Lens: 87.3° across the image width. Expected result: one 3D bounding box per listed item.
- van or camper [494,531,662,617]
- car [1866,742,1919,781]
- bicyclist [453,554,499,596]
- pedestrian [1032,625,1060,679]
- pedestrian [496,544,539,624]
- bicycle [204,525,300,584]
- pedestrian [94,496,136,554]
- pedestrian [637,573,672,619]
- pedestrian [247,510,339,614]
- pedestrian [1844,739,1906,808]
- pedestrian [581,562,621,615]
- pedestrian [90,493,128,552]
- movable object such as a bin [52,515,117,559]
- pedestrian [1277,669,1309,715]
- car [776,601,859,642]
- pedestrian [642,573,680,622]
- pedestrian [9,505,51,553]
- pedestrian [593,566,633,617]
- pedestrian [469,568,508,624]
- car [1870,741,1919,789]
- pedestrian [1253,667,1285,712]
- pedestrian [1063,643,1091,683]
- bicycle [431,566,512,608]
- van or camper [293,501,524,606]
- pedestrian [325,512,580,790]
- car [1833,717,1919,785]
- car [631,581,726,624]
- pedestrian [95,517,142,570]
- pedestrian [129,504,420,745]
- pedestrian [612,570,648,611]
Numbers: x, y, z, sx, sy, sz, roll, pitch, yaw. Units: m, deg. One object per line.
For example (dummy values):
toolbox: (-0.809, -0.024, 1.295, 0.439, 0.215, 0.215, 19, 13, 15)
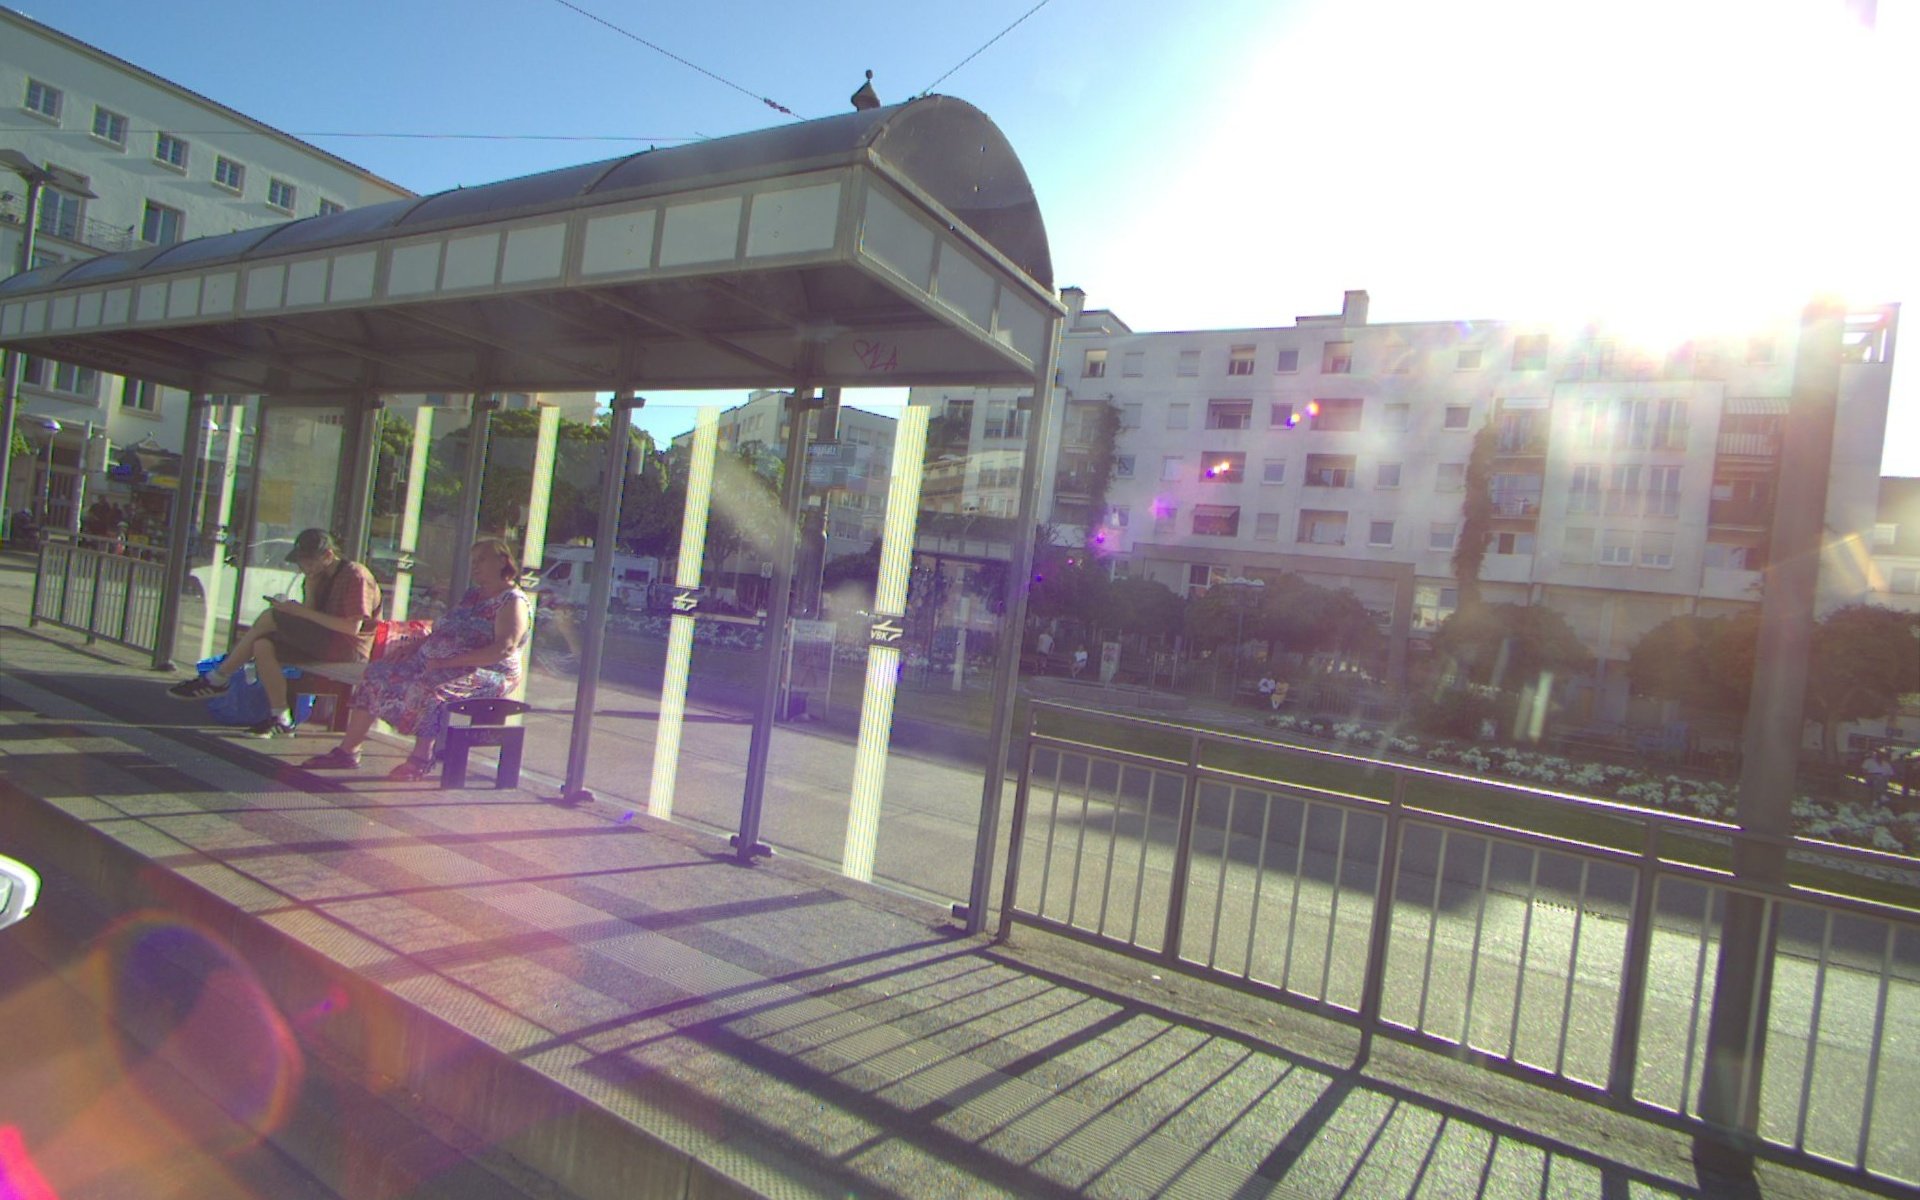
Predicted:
van or camper: (-16.492, -1.048, 43.834, 2.340, 2.873, 6.411, 7, -1, 35)
car: (39.574, 6.764, 40.809, 3.941, 1.303, 1.993, 7, -1, 38)
bicyclist: (-16.586, -0.856, 34.475, 0.940, 1.239, 0.931, 7, -2, 38)
pedestrian: (2.959, 1.795, 34.584, 0.661, 1.745, 1.028, 7, 0, 11)
pedestrian: (-10.307, -0.368, 23.415, 0.520, 1.765, 0.557, 6, -1, 42)
bicycle: (-23.529, -1.484, 33.484, 0.714, 1.548, 2.391, 7, -3, 31)
pedestrian: (-29.148, -2.580, 34.706, 0.667, 1.861, 0.785, 7, 0, 35)
pedestrian: (-11.452, -0.147, 37.708, 0.651, 1.604, 0.902, 7, 0, 35)
pedestrian: (-13.356, -0.748, 20.160, 1.110, 1.900, 0.983, 6, -1, 29)
pedestrian: (21.595, 4.063, 23.765, 0.923, 1.428, 1.521, 7, -1, 42)
pedestrian: (-12.528, -0.396, 35.120, 0.684, 1.705, 0.902, 7, 0, 35)
pedestrian: (-28.581, -2.608, 33.781, 0.649, 1.861, 0.653, 7, 0, 35)
movable object such as a bin: (-28.133, -2.028, 32.316, 1.197, 1.167, 1.200, 7, -1, 32)
pedestrian: (10.318, 2.849, 31.181, 0.718, 1.287, 0.745, 7, 0, 11)
car: (-6.726, 1.068, 47.905, 1.964, 1.503, 4.000, 7, -1, 23)
pedestrian: (-10.611, -0.071, 35.721, 0.651, 1.604, 0.902, 7, 0, 35)
pedestrian: (-27.998, -2.127, 30.300, 0.736, 1.332, 0.622, 7, 0, -35)
pedestrian: (-11.819, -0.283, 34.242, 0.651, 1.604, 0.902, 7, 0, 35)
pedestrian: (-10.608, -0.094, 22.634, 0.550, 1.182, 0.469, 6, -2, 40)
car: (36.365, 6.313, 37.035, 3.941, 1.535, 1.993, 7, -1, 38)
pedestrian: (9.608, 2.781, 31.275, 0.718, 1.287, 0.745, 7, 0, 11)
pedestrian: (4.061, 2.170, 34.818, 0.718, 1.287, 1.042, 7, 0, 11)
bicycle: (-16.685, -0.417, 34.423, 0.710, 1.073, 2.317, 7, -3, 38)
van or camper: (-20.373, -1.617, 37.662, 2.331, 2.780, 7.132, 9, 0, 32)
pedestrian: (-2.719, 0.291, 5.450, 0.613, 1.348, 0.861, 6, -4, 31)
car: (43.850, 7.065, 45.177, 6.284, 2.585, 2.813, 7, -1, 27)
car: (-13.888, 0.123, 49.840, 1.974, 1.529, 3.982, 6, -3, 43)
pedestrian: (-25.230, -1.695, 30.159, 0.742, 1.427, 0.731, 11, 1, 32)
pedestrian: (-4.060, 0.165, 6.003, 0.908, 1.238, 1.001, 6, -4, 32)
pedestrian: (-11.539, -0.336, 35.203, 0.595, 1.295, 0.902, 7, -1, 35)
